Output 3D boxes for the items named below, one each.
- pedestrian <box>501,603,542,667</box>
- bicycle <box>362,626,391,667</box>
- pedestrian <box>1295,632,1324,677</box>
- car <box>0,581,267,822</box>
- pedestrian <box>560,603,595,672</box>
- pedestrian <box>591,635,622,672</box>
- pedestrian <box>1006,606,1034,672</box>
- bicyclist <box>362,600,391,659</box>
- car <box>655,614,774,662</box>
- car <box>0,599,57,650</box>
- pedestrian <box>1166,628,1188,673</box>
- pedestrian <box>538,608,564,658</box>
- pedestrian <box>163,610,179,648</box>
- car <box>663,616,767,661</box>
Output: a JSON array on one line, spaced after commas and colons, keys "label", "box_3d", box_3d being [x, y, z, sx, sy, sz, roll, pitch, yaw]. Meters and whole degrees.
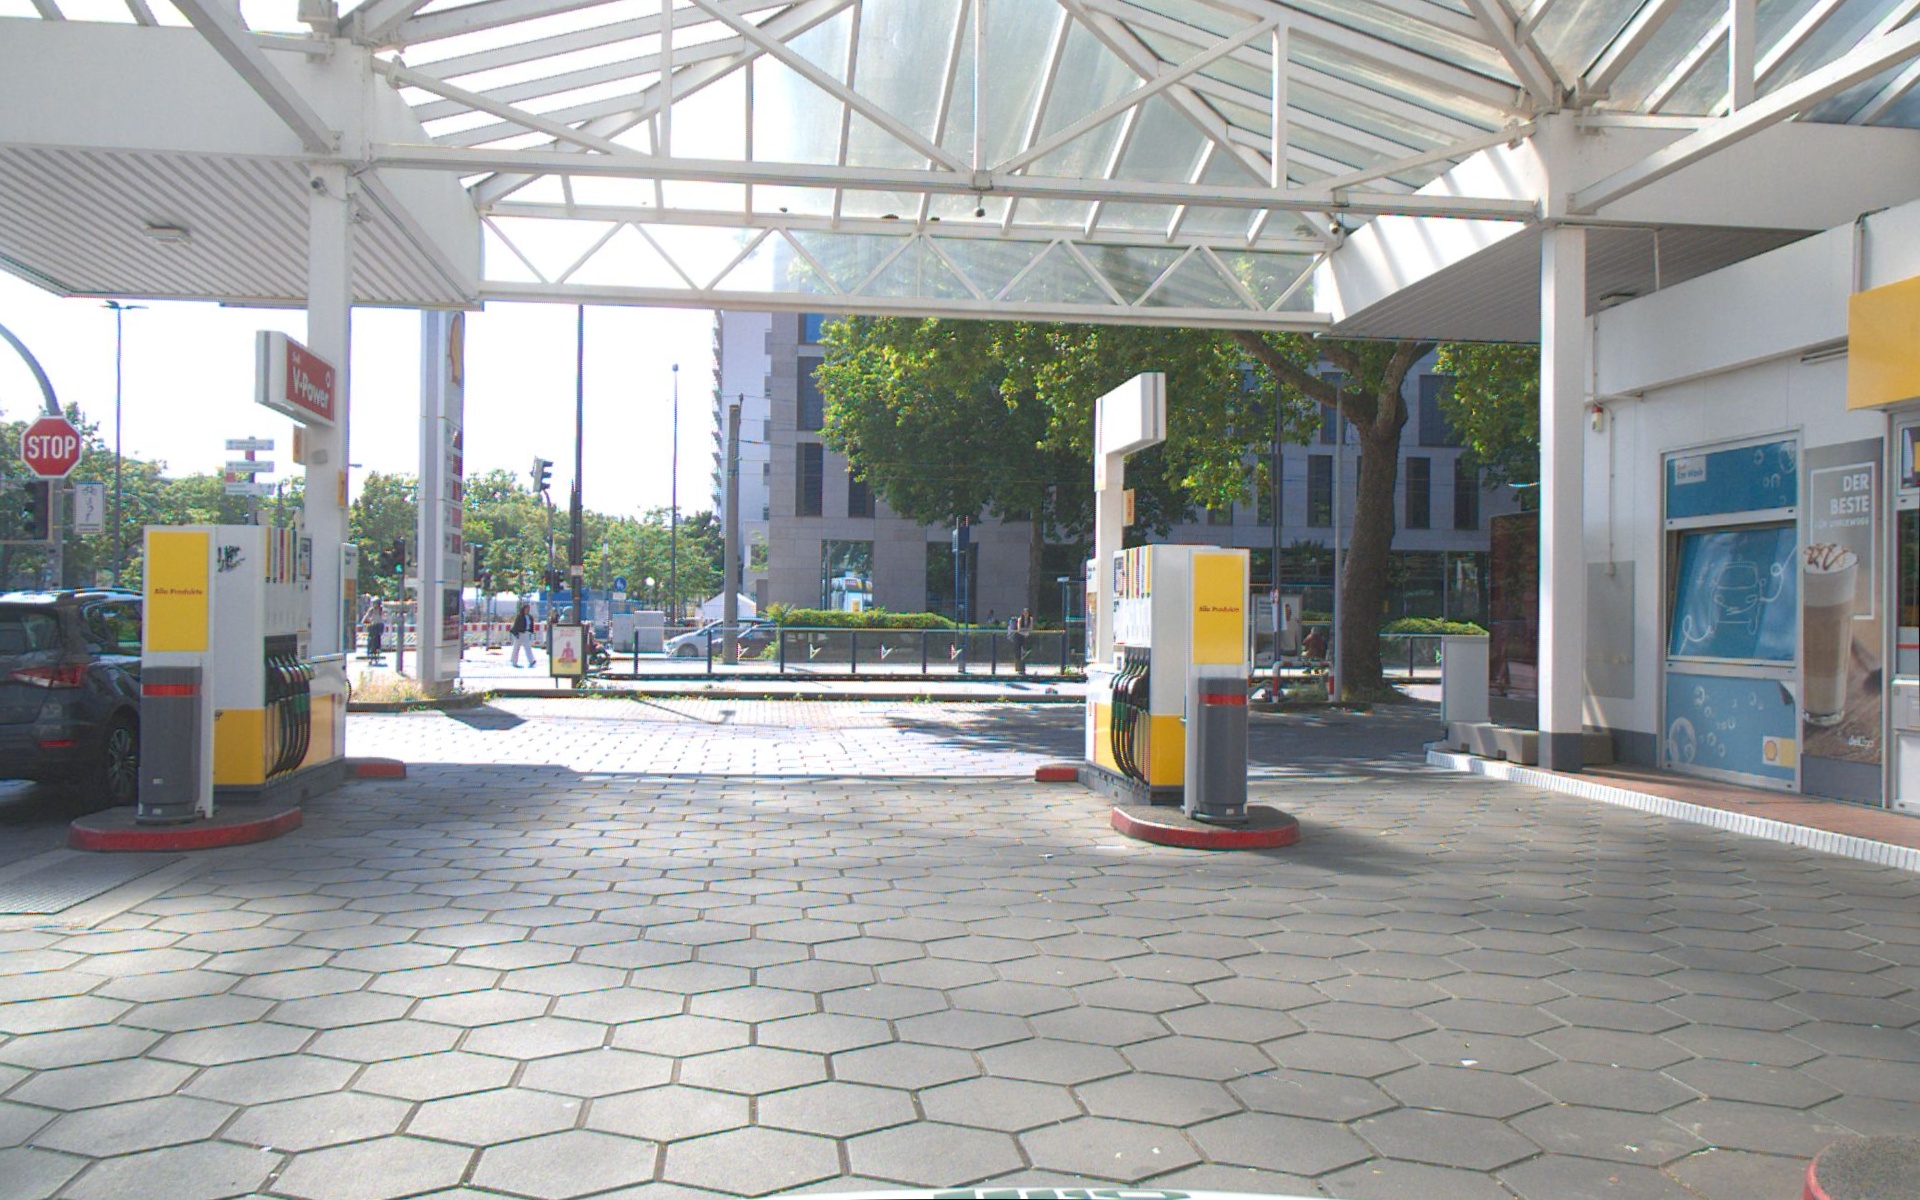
[{"label": "pedestrian", "box_3d": [-11.827, 0.944, 44.634, 0.912, 1.712, 0.503, 1, -1, 5]}, {"label": "bicycle", "box_3d": [-16.015, 1.268, 45.425, 0.627, 1.101, 2.017, 1, -1, -16]}, {"label": "pedestrian", "box_3d": [9.076, 1.405, 42.956, 0.615, 1.158, 0.524, 1, -1, -1]}, {"label": "car", "box_3d": [-6.795, 0.703, 12.705, 1.711, 1.559, 3.993, -1, -1, -8]}, {"label": "pedestrian", "box_3d": [-9.526, 0.925, 41.195, 0.766, 1.712, 0.499, 1, -1, -23]}, {"label": "pedestrian", "box_3d": [-8.865, 1.339, 41.492, 0.681, 0.896, 0.499, 1, -1, -23]}, {"label": "pedestrian", "box_3d": [1.515, 0.977, 41.639, 0.573, 1.619, 0.669, 1, 1, -8]}, {"label": "bicyclist", "box_3d": [-15.988, 0.805, 45.344, 0.627, 1.608, 1.168, 1, -1, -15]}, {"label": "car", "box_3d": [-8.417, 1.294, 56.615, 3.918, 1.579, 1.697, 1, -1, -13]}, {"label": "car", "box_3d": [-39.718, 1.059, 68.855, 1.954, 2.049, 4.444, -1, -1, -3]}, {"label": "pedestrian", "box_3d": [5.563, 1.292, 42.410, 0.489, 1.158, 0.524, 1, -1, -1]}, {"label": "pedestrian", "box_3d": [-12.794, 1.027, 51.744, 0.637, 1.567, 0.503, 1, -1, 2]}, {"label": "pedestrian", "box_3d": [-31.342, 1.163, 65.686, 0.556, 1.495, 0.509, 1, -1, -27]}, {"label": "car", "box_3d": [-8.923, 1.381, 60.156, 3.618, 1.579, 1.587, 1, -1, -13]}]
